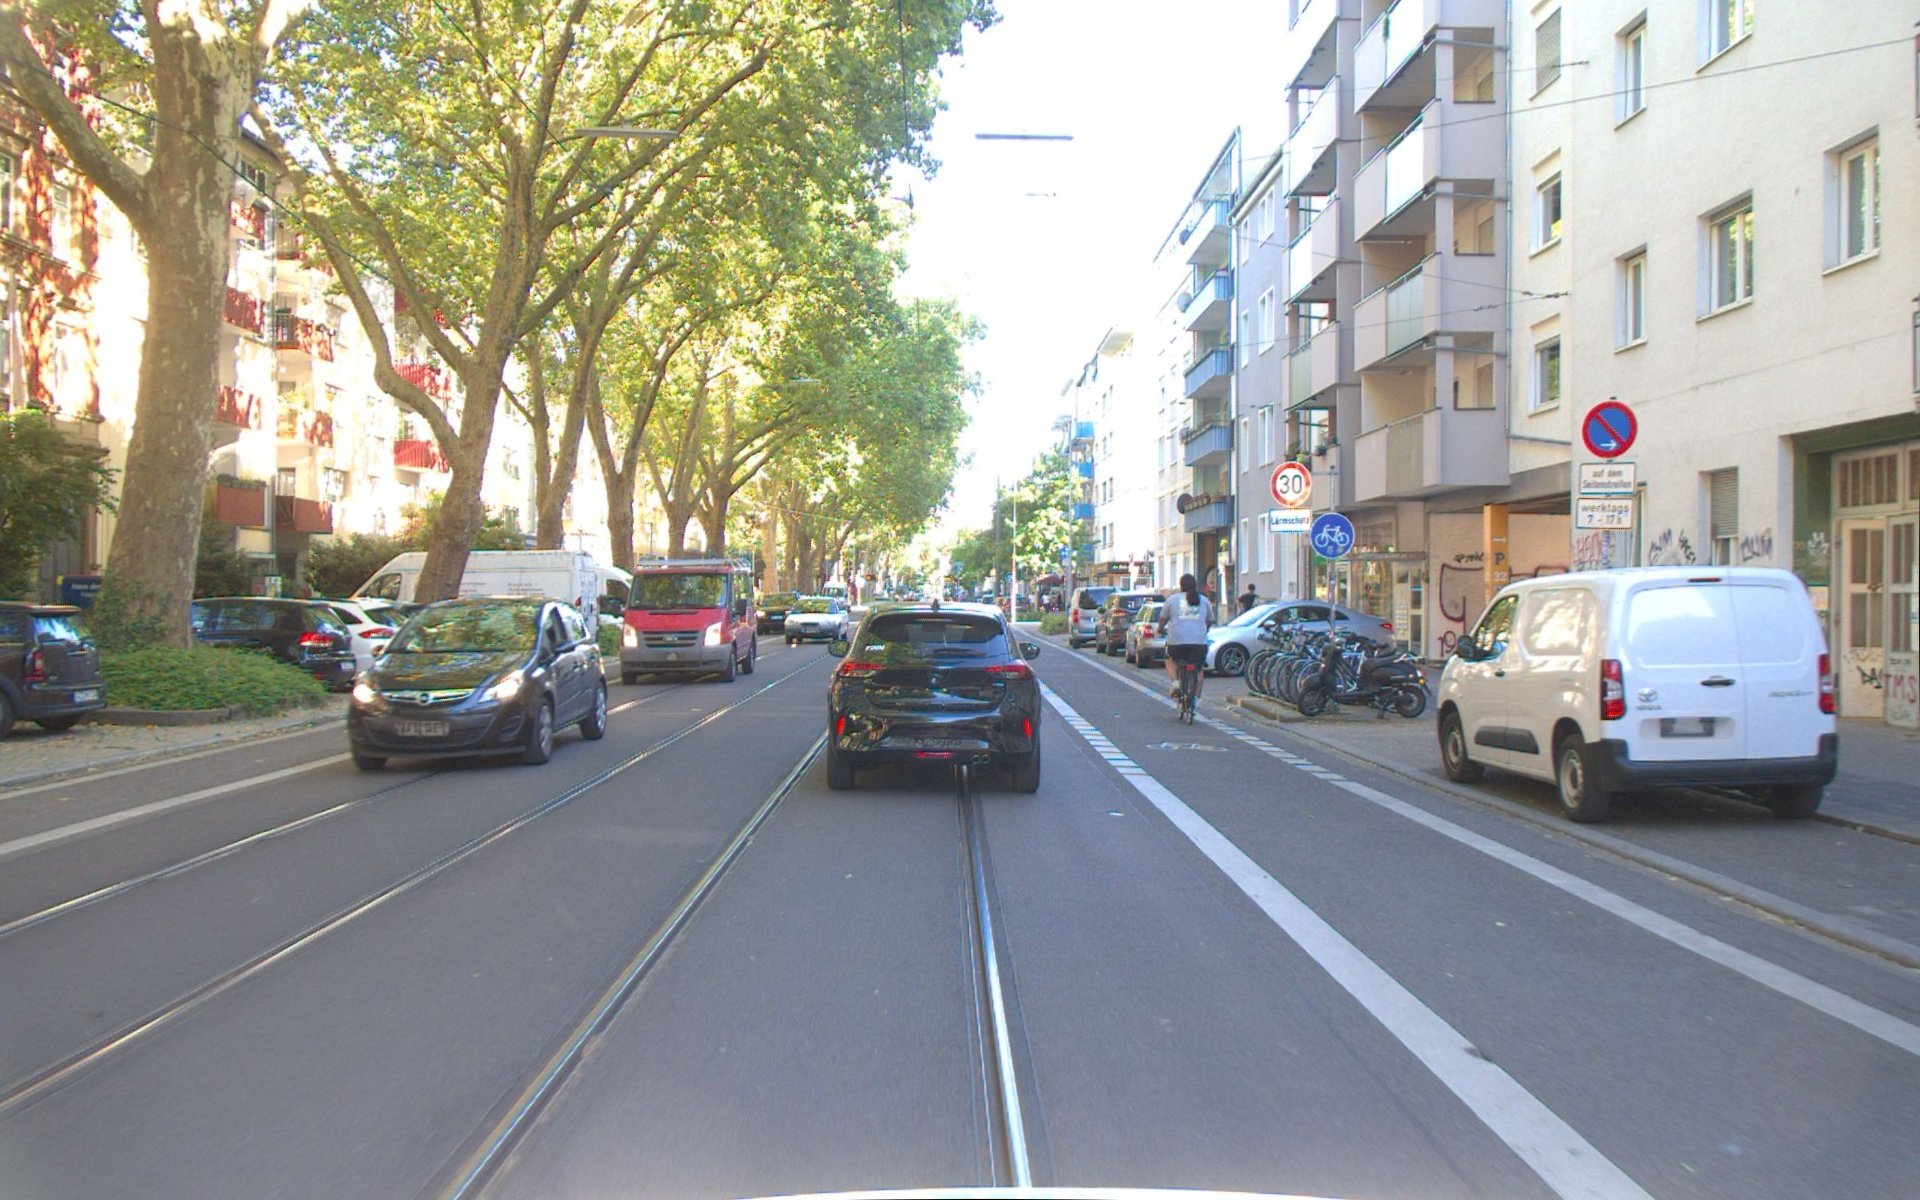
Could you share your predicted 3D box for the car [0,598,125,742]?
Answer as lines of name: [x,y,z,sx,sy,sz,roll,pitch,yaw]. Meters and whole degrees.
car: [-11.458,0.719,17.954,3.904,1.486,1.704,0,0,1]

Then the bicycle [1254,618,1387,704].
bicycle: [5.251,0.877,24.171,1.757,1.168,0.704,-2,0,-1]

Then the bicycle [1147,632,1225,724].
bicycle: [2.954,0.995,21.777,0.687,1.111,1.989,2,-1,-1]

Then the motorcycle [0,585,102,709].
motorcycle: [-13.340,0.625,23.172,1.030,1.660,3.011,2,-1,-1]

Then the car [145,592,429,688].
car: [-10.983,0.635,27.188,3.905,1.522,1.830,0,0,0]

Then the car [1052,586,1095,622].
car: [5.372,0.185,78.452,1.820,1.680,4.000,0,0,1]

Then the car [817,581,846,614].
car: [-10.532,-0.204,135.987,2.050,2.629,5.995,0,0,-1]

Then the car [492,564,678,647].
car: [-11.495,0.161,50.977,5.251,2.521,2.057,0,0,-1]

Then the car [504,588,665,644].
car: [-10.964,0.456,48.467,4.282,1.566,1.872,0,0,-1]

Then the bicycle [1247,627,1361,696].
bicycle: [5.270,0.932,25.369,1.619,0.983,0.457,-2,0,-1]

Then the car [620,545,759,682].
car: [-4.780,0.221,29.849,1.879,2.266,4.958,0,0,-2]

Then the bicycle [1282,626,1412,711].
bicycle: [5.214,0.915,22.324,1.619,1.073,0.457,-2,0,-1]

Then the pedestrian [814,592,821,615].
pedestrian: [-10.320,0.246,119.508,0.497,1.610,0.526,0,0,-5]

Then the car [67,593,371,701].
car: [-10.916,0.678,24.547,3.715,1.486,1.704,1,0,0]

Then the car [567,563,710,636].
car: [-11.596,-0.025,59.940,4.846,2.612,2.081,0,0,-4]

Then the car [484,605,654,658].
car: [-10.916,0.864,46.382,4.320,1.409,1.933,0,0,-1]

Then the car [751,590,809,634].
car: [-7.440,0.488,68.843,1.953,1.730,4.484,-2,0,-1]

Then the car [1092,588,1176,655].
car: [4.664,0.546,44.937,1.731,1.734,4.281,0,0,-2]

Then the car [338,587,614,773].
car: [-4.400,0.659,15.567,1.684,1.536,3.720,0,0,-3]

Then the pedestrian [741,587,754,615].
pedestrian: [-14.598,0.057,113.547,0.887,1.901,0.643,0,0,-7]

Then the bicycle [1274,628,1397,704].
bicycle: [5.315,0.934,23.449,1.619,1.004,0.457,-2,0,-1]

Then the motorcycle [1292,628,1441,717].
motorcycle: [5.249,0.931,21.373,1.781,1.099,0.617,-1,0,23]

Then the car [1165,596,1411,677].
car: [6.621,0.706,33.514,4.532,1.462,1.859,-1,0,-12]

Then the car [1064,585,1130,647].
car: [4.396,0.493,53.755,1.820,1.923,4.925,0,0,1]

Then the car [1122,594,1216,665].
car: [4.789,0.642,38.446,1.689,1.552,4.513,0,0,1]

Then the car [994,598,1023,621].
car: [3.184,0.618,108.889,1.683,1.516,3.680,0,0,-2]

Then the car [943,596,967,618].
car: [-0.381,0.549,127.926,1.820,1.680,4.000,0,0,1]

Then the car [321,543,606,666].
car: [-10.901,0.086,36.616,5.623,2.580,2.162,1,0,-1]

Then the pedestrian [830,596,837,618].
pedestrian: [-9.163,0.491,119.495,0.496,1.610,0.526,0,0,-1]

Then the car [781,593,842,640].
car: [-4.583,0.492,51.516,1.683,1.382,4.468,0,0,-2]

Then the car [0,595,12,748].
car: [-11.314,0.697,15.437,3.904,1.486,1.770,0,0,1]

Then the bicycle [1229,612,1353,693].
bicycle: [5.263,0.832,26.345,1.853,1.212,0.457,-2,0,-1]

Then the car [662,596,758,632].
car: [-10.720,0.597,71.115,3.907,1.548,1.770,0,0,-2]

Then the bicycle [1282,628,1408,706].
bicycle: [5.326,0.928,22.915,1.619,1.004,0.457,-2,0,-1]

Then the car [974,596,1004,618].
car: [2.250,0.548,127.888,1.954,1.668,3.996,0,0,-5]

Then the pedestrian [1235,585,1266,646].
pedestrian: [8.326,0.441,47.464,0.741,1.750,0.720,0,0,-2]

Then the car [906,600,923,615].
car: [-5.198,0.894,188.500,1.714,1.680,4.000,0,0,1]

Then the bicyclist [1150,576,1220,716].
bicyclist: [2.930,0.585,21.612,0.770,1.790,0.914,0,0,-1]

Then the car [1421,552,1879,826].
car: [5.292,0.596,13.395,1.821,1.852,4.350,0,0,-1]

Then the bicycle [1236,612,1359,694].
bicycle: [5.269,0.822,25.854,1.786,1.212,0.457,-2,0,-1]

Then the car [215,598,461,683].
car: [-11.077,0.702,29.610,3.730,1.457,1.704,0,0,1]

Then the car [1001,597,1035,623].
car: [3.627,0.629,103.399,1.684,1.601,4.081,0,0,-5]

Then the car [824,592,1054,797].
car: [-0.184,0.696,13.904,1.646,1.447,3.627,2,0,-1]

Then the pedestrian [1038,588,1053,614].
pedestrian: [5.853,0.086,113.258,0.753,1.779,0.794,0,0,28]

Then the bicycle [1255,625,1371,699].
bicycle: [5.295,0.929,24.861,1.619,1.038,0.457,-2,0,-1]

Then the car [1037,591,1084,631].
car: [4.241,0.454,70.285,1.820,1.680,4.000,0,0,1]
